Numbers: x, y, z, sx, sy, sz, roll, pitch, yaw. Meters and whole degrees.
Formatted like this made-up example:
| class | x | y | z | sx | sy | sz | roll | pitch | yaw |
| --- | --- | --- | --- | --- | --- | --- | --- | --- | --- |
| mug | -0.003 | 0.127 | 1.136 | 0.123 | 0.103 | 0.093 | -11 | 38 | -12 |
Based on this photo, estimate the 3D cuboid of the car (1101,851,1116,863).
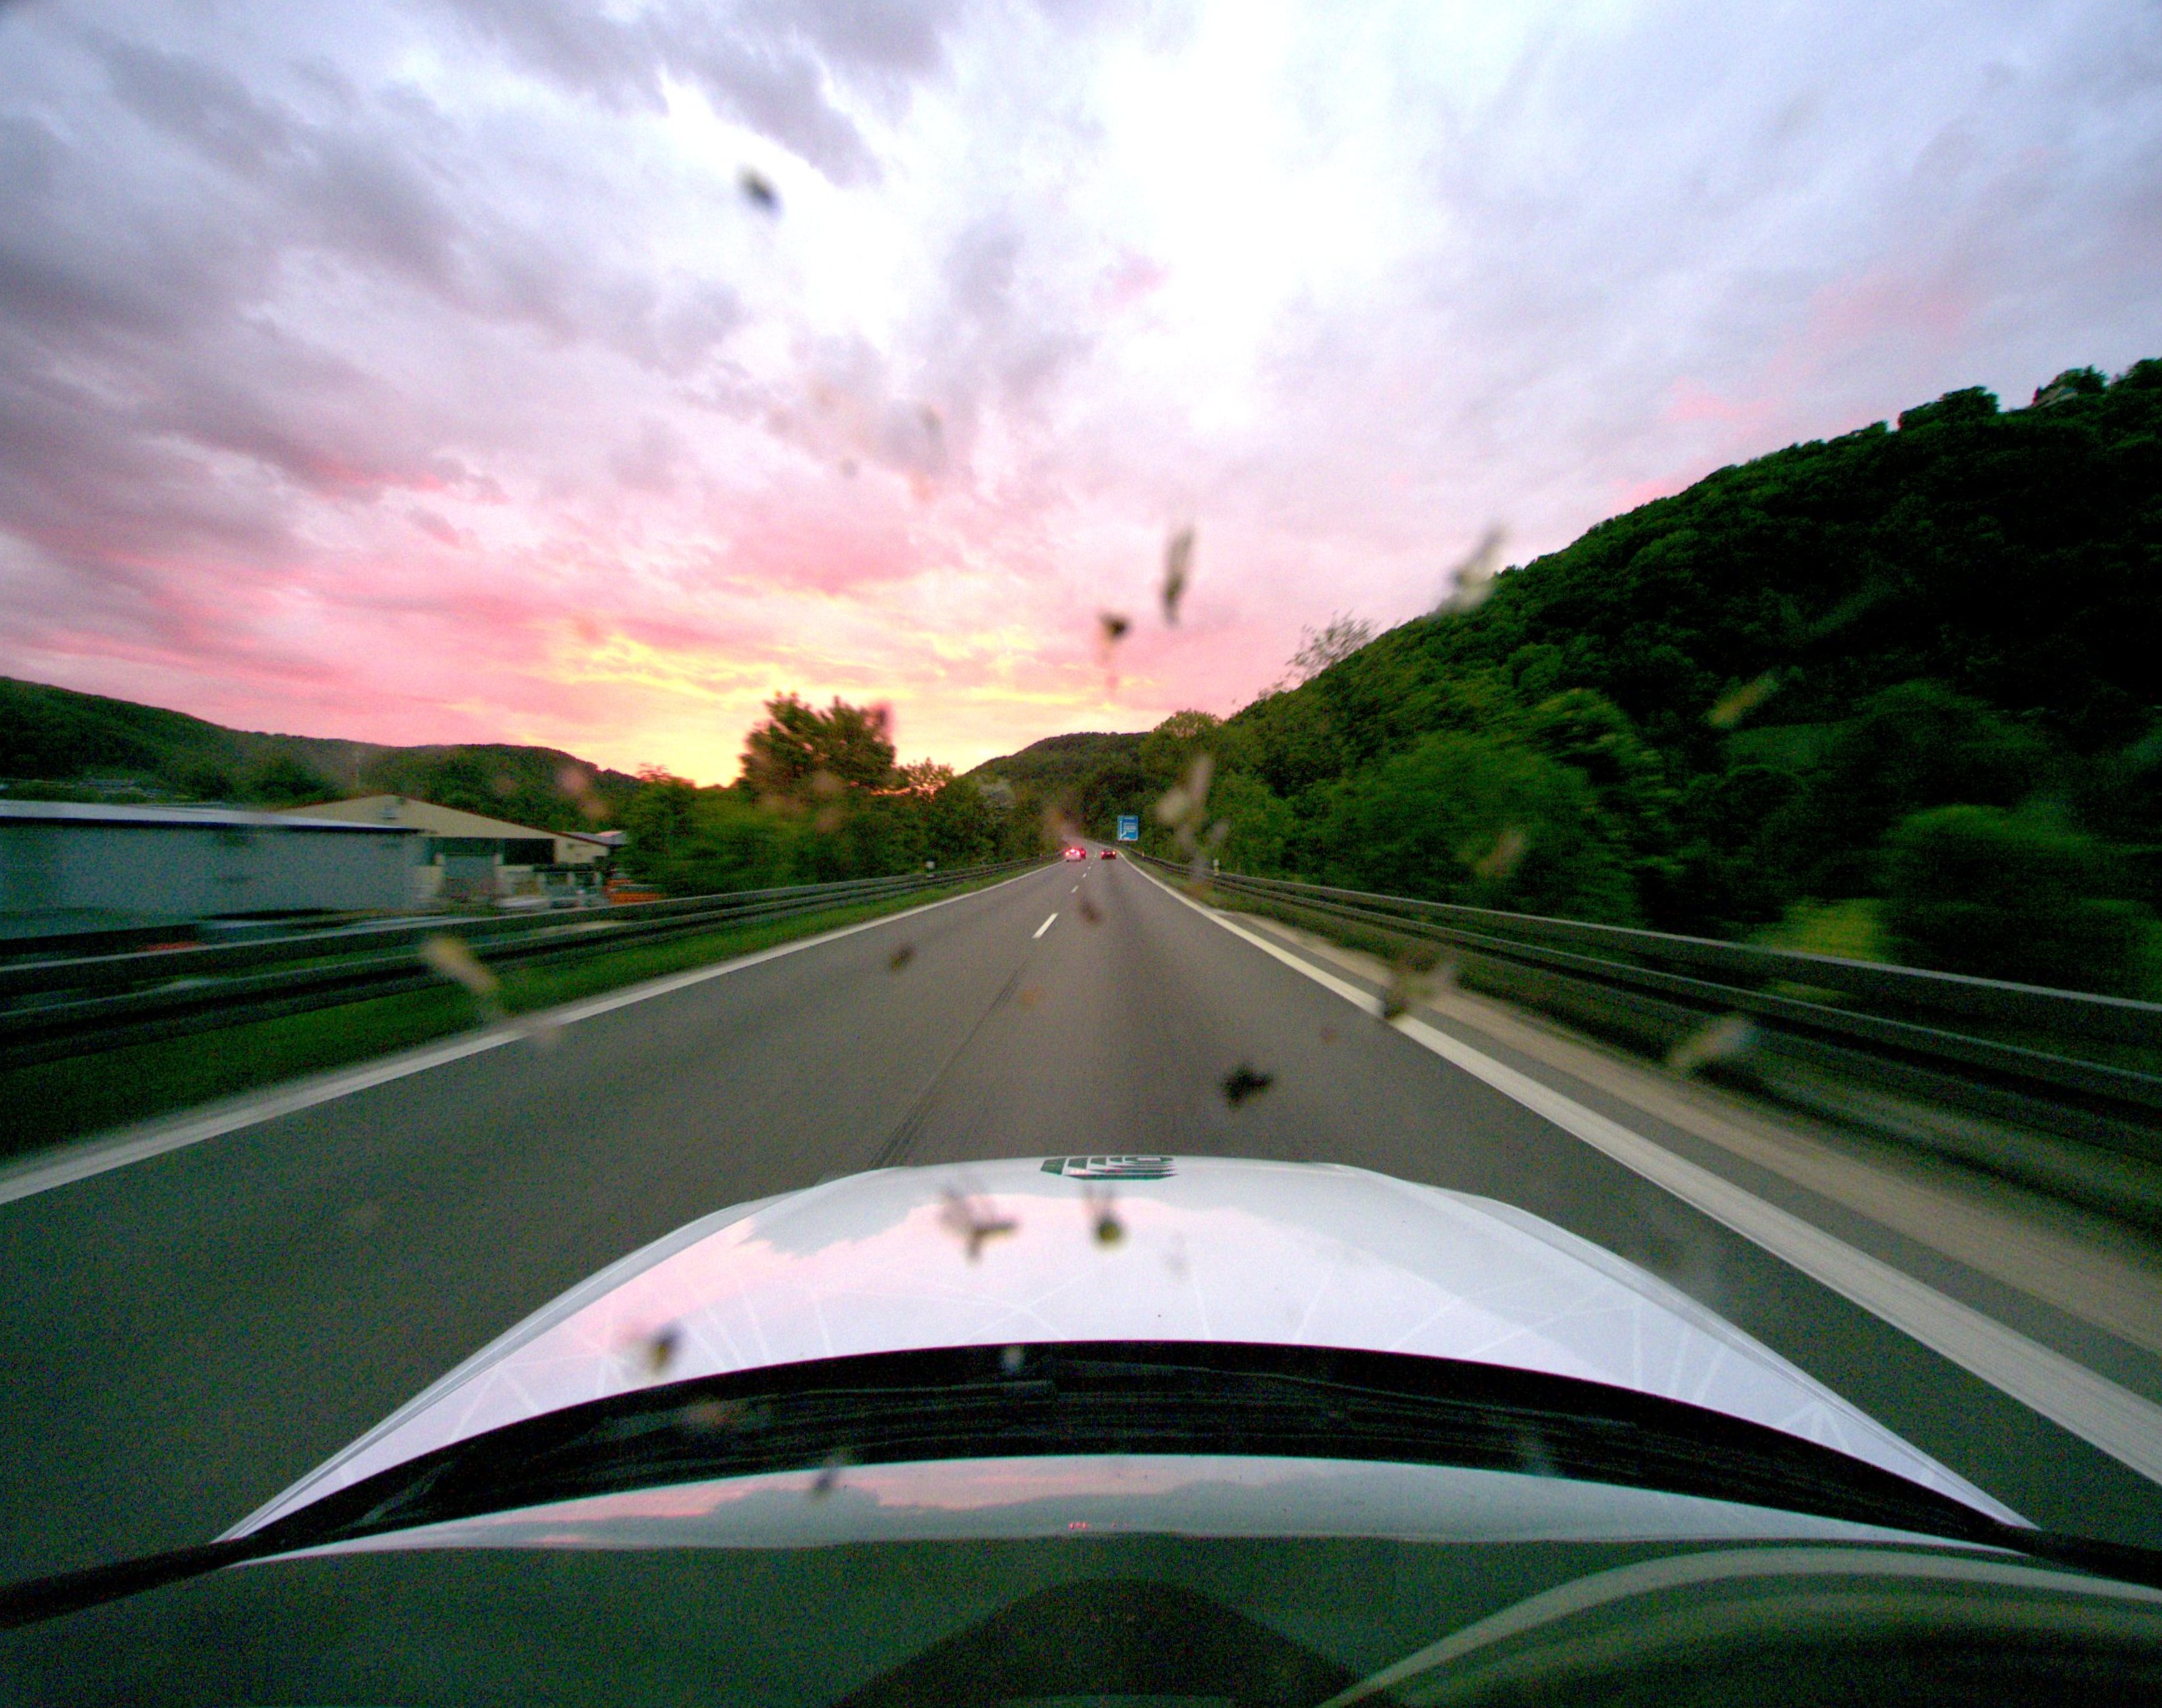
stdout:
| class | x | y | z | sx | sy | sz | roll | pitch | yaw |
| --- | --- | --- | --- | --- | --- | --- | --- | --- | --- |
| car | 3.651 | 0.447 | 108.051 | 1.871 | 1.466 | 4.002 | -2 | 1 | 1 |

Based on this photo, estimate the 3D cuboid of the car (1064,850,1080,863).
| class | x | y | z | sx | sy | sz | roll | pitch | yaw |
| --- | --- | --- | --- | --- | --- | --- | --- | --- | --- |
| car | -1.104 | 0.261 | 102.024 | 1.712 | 1.501 | 4.002 | -2 | 1 | 1 |

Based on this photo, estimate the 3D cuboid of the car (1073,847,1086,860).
| class | x | y | z | sx | sy | sz | roll | pitch | yaw |
| --- | --- | --- | --- | --- | --- | --- | --- | --- | --- |
| car | -0.219 | -0.080 | 115.253 | 1.712 | 1.635 | 4.002 | -2 | 1 | 1 |
